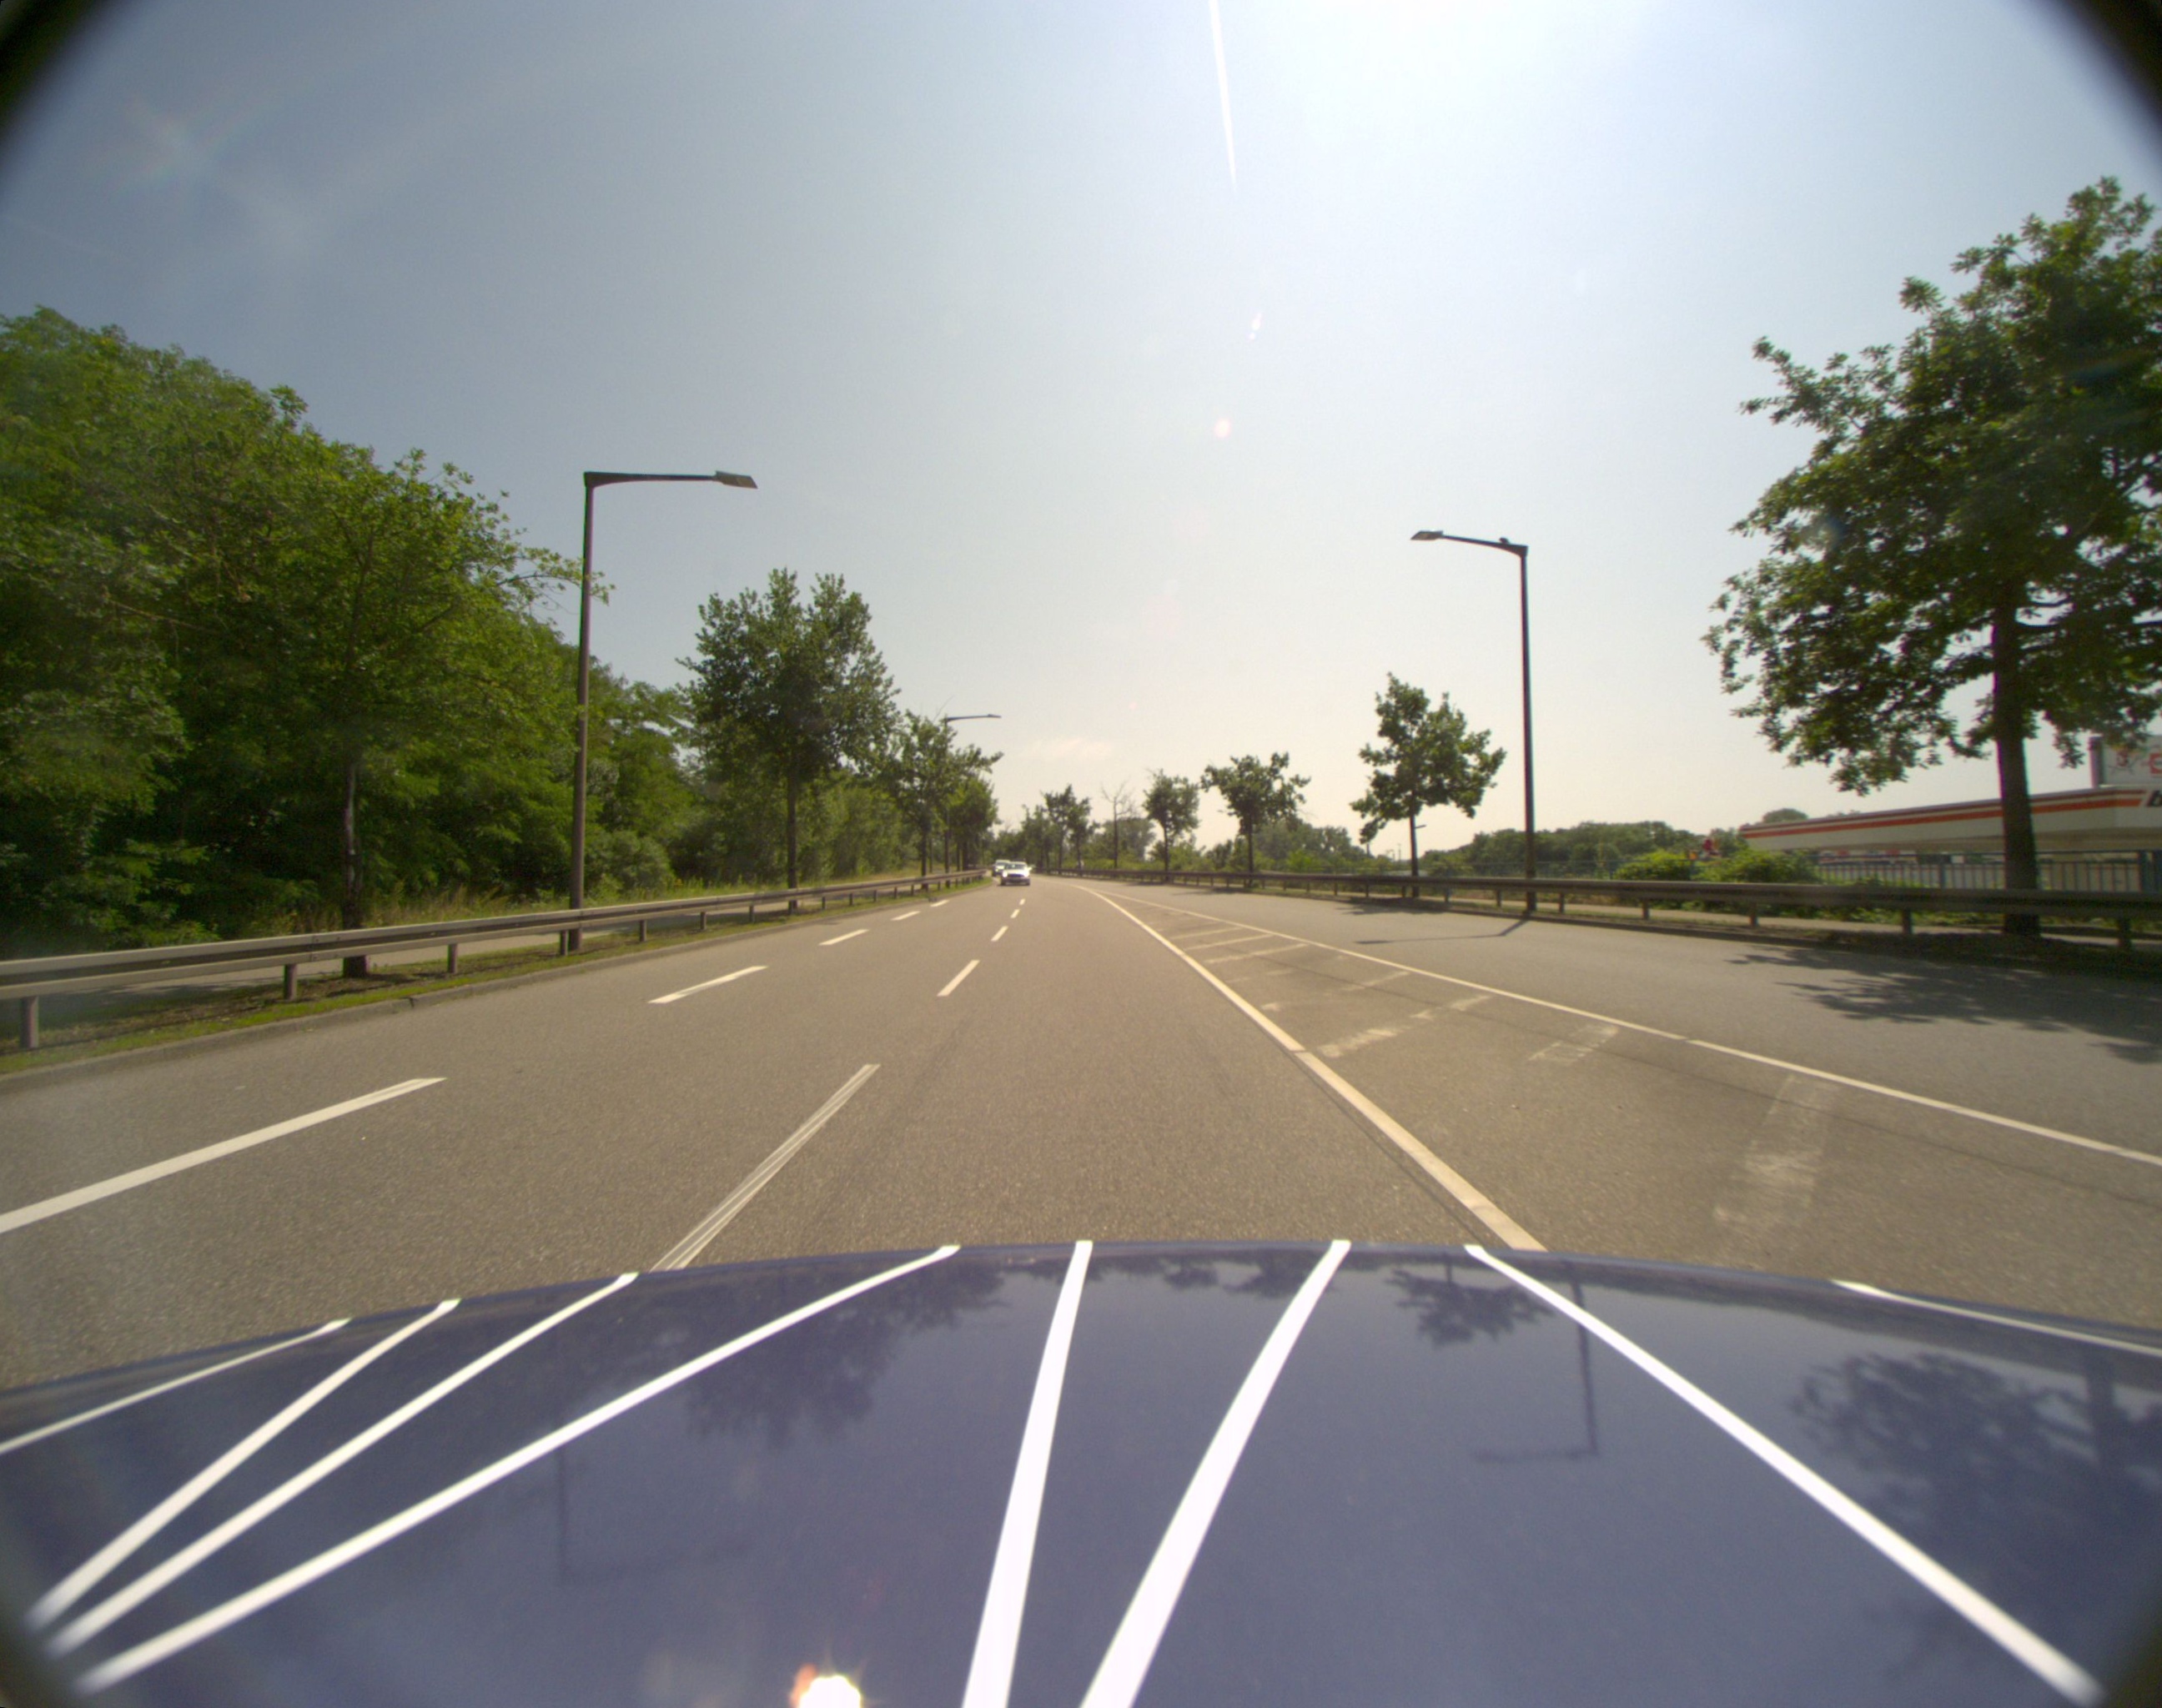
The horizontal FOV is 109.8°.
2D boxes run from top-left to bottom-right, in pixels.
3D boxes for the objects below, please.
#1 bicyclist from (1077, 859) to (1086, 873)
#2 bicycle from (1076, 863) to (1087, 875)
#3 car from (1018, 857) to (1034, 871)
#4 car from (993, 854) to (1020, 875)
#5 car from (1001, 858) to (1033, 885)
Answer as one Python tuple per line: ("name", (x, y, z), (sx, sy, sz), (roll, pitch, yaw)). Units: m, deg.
("bicyclist", (0.092, 1.250, 79.551), (0.732, 1.457, 0.823), (3, 0, -9))
("bicycle", (0.074, 1.549, 79.560), (0.737, 1.110, 2.044), (3, 0, -10))
("car", (-6.775, 1.235, 93.202), (1.812, 1.748, 4.251), (1, -1, -5))
("car", (-6.627, 0.880, 67.249), (1.801, 1.772, 4.289), (1, 0, -12))
("car", (-3.857, 1.013, 45.973), (1.764, 1.490, 4.231), (-2, 1, -4))
